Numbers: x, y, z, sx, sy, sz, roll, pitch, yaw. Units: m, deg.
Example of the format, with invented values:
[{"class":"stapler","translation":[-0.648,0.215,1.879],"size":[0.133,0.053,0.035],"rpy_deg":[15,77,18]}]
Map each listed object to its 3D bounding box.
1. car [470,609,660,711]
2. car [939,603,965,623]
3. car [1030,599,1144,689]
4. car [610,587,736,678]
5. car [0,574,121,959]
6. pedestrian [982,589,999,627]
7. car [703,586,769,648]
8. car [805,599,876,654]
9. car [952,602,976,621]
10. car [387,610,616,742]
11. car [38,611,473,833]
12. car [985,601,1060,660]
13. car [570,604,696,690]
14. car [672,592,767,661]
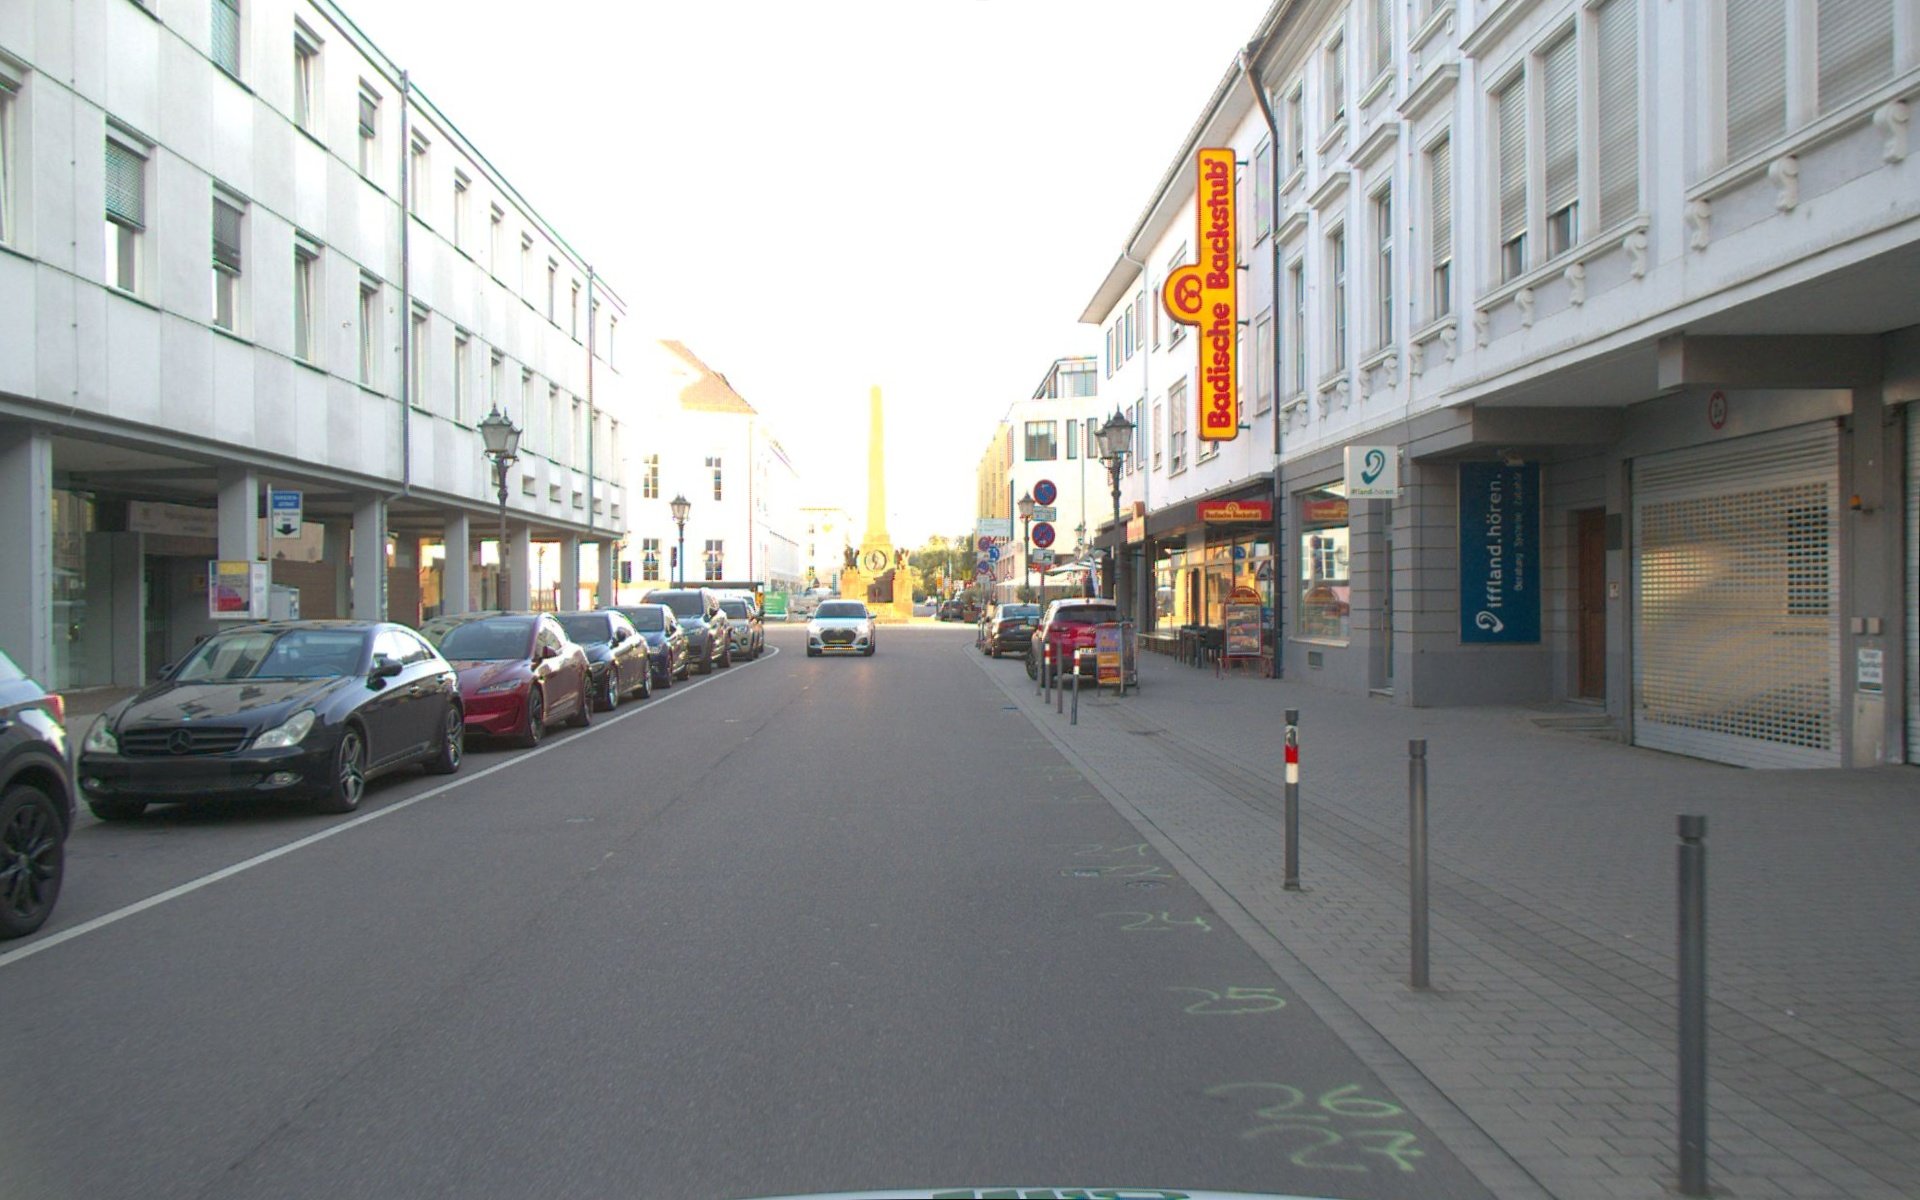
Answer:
[{"class":"car","translation":[-5.779,0.835,24.702],"size":[1.953,1.378,3.999],"rpy_deg":[0,0,-1]},{"class":"car","translation":[-0.591,1.000,125.712],"size":[1.953,1.489,4.000],"rpy_deg":[-1,0,0]},{"class":"car","translation":[2.256,0.758,30.271],"size":[1.724,1.550,3.676],"rpy_deg":[0,0,-1]},{"class":"car","translation":[-6.060,0.656,35.452],"size":[1.953,1.758,4.514],"rpy_deg":[-2,0,-1]},{"class":"car","translation":[-4.971,0.724,6.012],"size":[1.749,1.643,4.165],"rpy_deg":[-1,0,-1]},{"class":"pedestrian","translation":[1.351,0.339,73.043],"size":[0.676,1.676,0.695],"rpy_deg":[-1,0,-2]},{"class":"car","translation":[-7.024,0.492,51.715],"size":[1.956,1.847,4.774],"rpy_deg":[0,0,-9]},{"class":"car","translation":[-3.218,0.686,45.013],"size":[1.728,1.447,3.999],"rpy_deg":[0,0,-1]},{"class":"car","translation":[0.326,0.898,134.211],"size":[1.953,1.489,4.000],"rpy_deg":[-1,0,0]},{"class":"car","translation":[-5.580,0.866,20.633],"size":[1.749,1.433,4.087],"rpy_deg":[-1,0,-1]},{"class":"car","translation":[-5.339,0.833,13.174],"size":[1.749,1.433,4.087],"rpy_deg":[-1,0,-1]},{"class":"car","translation":[1.626,0.763,44.103],"size":[1.765,1.489,4.116],"rpy_deg":[0,0,-1]},{"class":"car","translation":[-5.900,0.806,30.258],"size":[1.639,1.424,3.998],"rpy_deg":[-1,0,-2]},{"class":"car","translation":[-6.112,0.641,42.420],"size":[1.953,1.691,3.999],"rpy_deg":[0,0,-1]}]
